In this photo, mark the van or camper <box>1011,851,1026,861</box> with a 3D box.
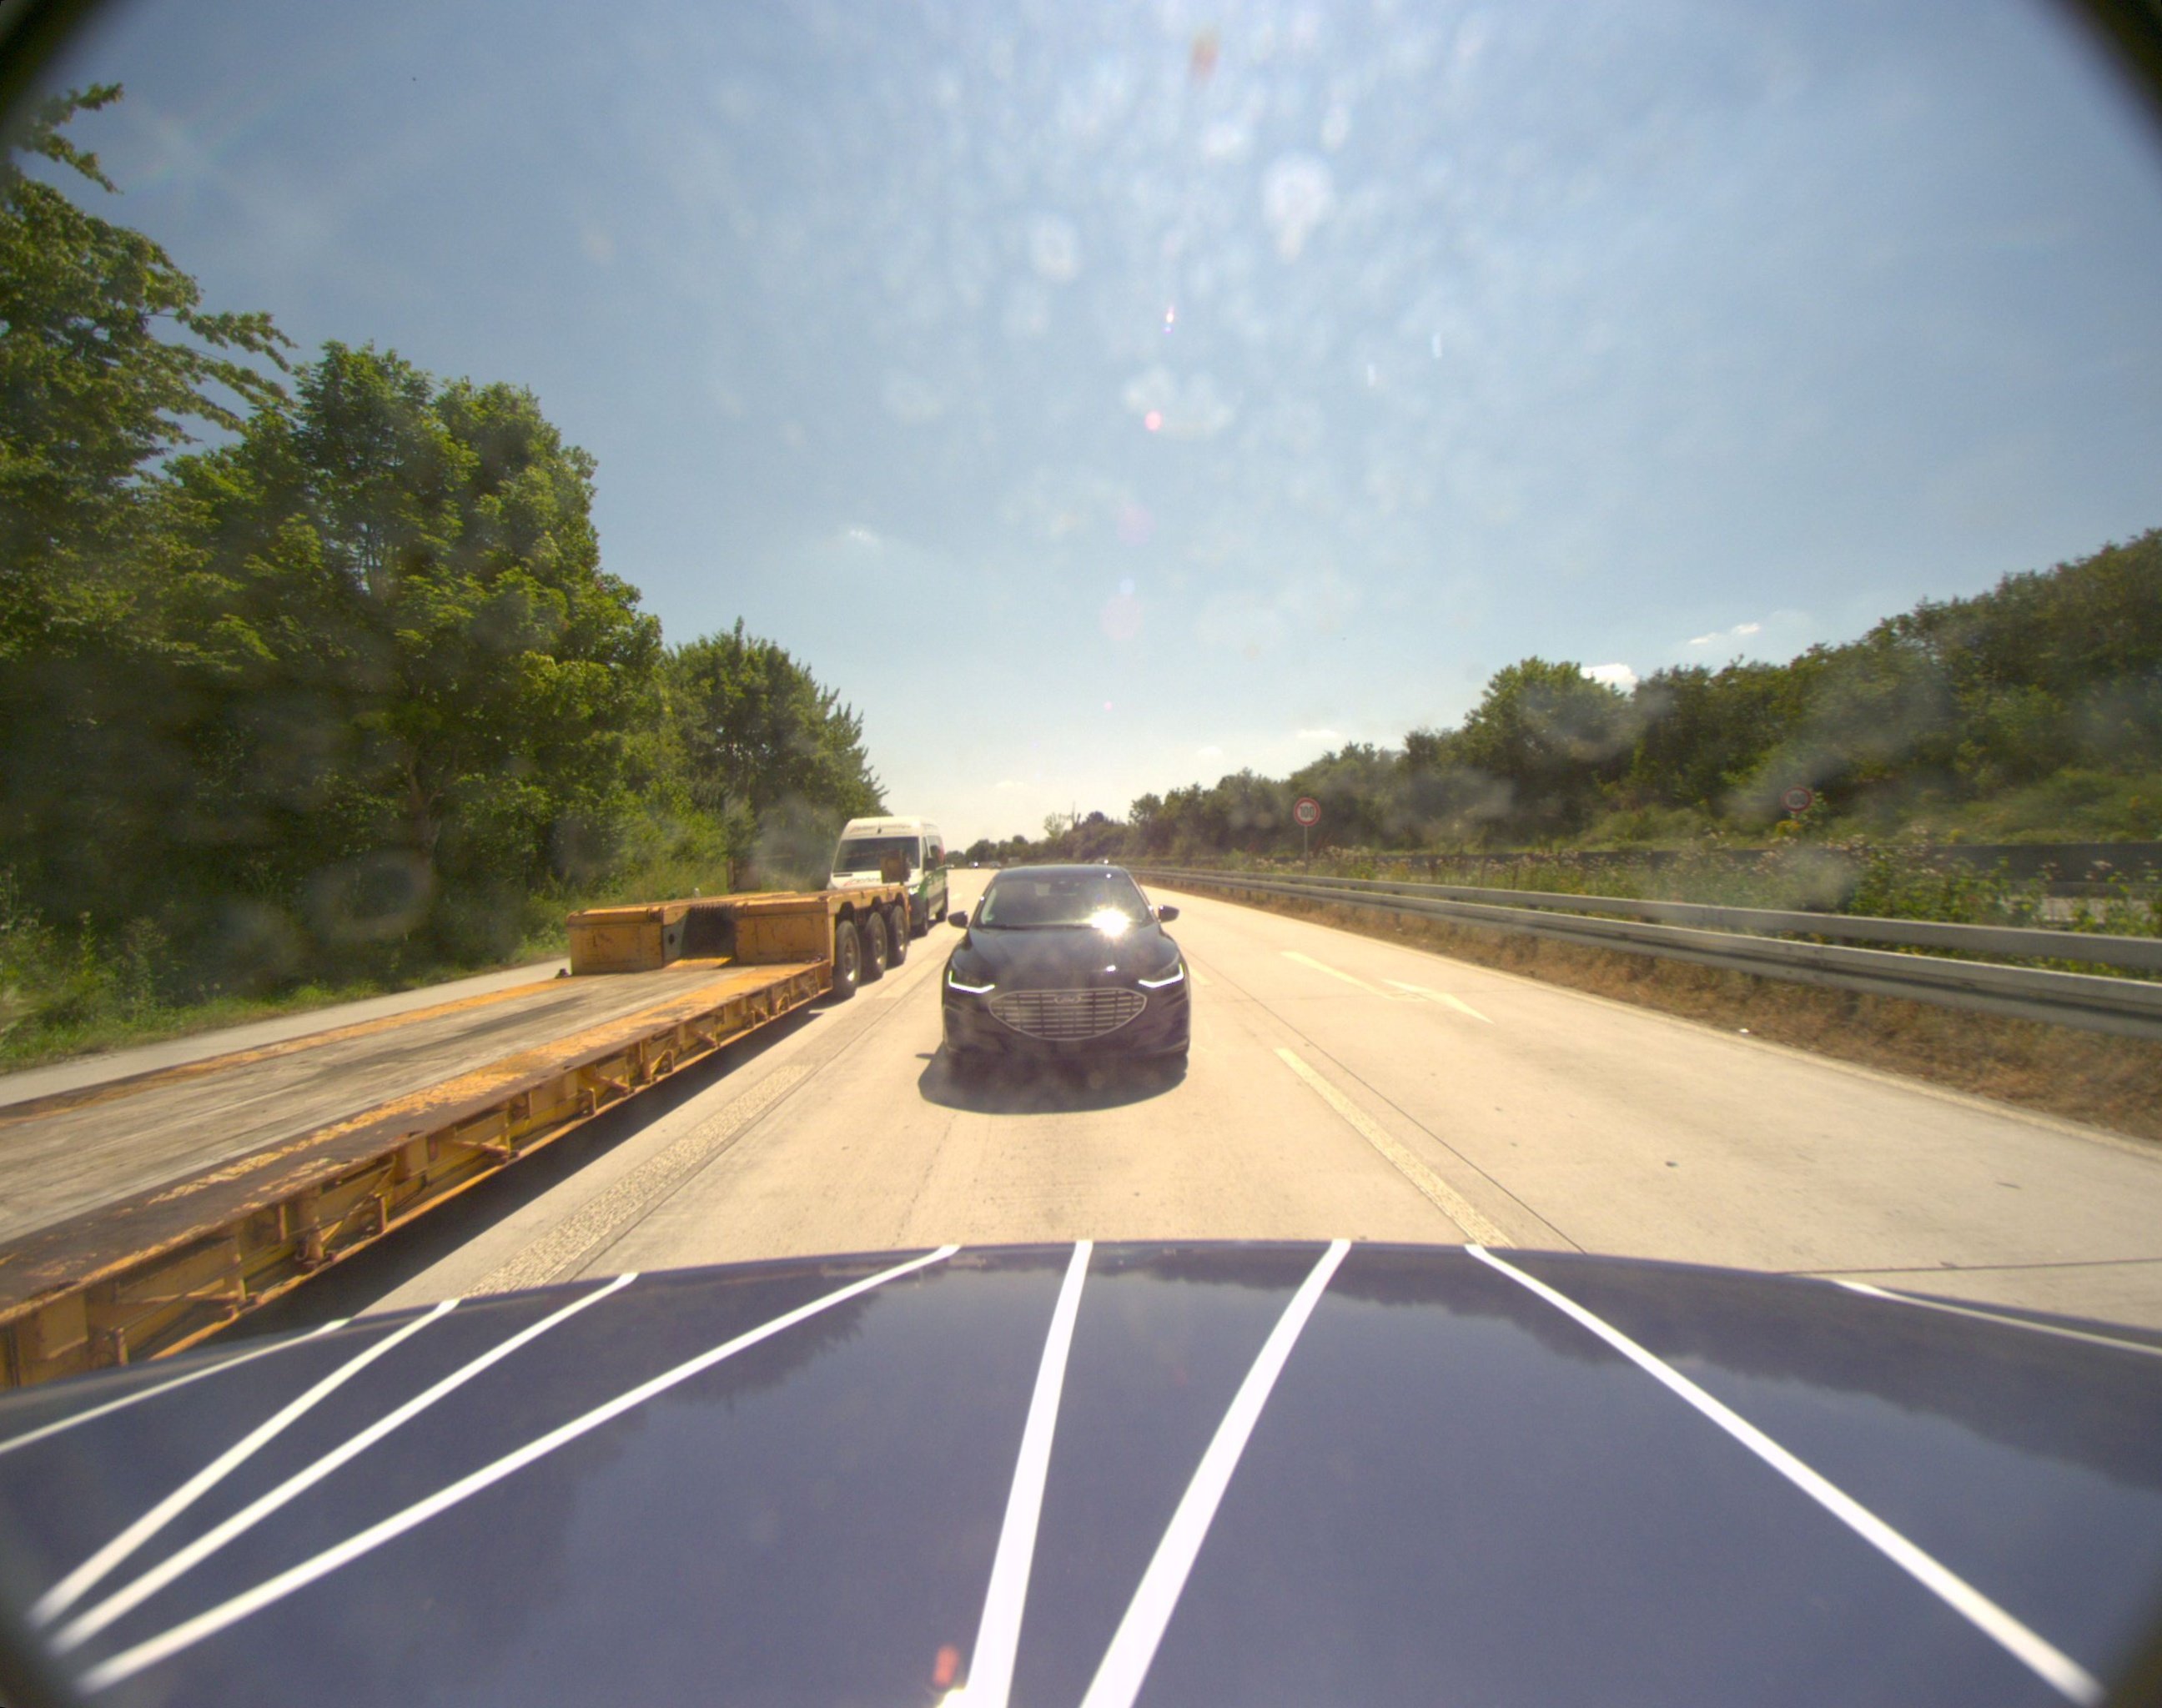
[{"bbox_3d":[-13.427,0.390,163.228,2.180,2.002,5.632,-2,1,-13],"label":"van or camper"}]

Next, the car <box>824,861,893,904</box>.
[{"bbox_3d":[-9.231,1.137,31.826,1.772,1.552,4.366,-2,1,-3],"label":"car"}]

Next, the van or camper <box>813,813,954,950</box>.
[{"bbox_3d":[-4.290,0.503,17.561,2.069,2.559,5.904,-2,1,-5],"label":"van or camper"}]

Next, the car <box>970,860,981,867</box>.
[{"bbox_3d":[-23.353,2.073,168.344,1.708,1.456,3.993,-3,1,-19],"label":"car"}]

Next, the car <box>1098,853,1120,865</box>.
[{"bbox_3d":[3.598,0.580,99.236,1.878,1.438,4.599,-2,1,-9],"label":"car"}]

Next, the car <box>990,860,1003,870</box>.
[{"bbox_3d":[-14.816,1.908,133.381,1.629,1.476,3.995,-2,1,-14],"label":"car"}]

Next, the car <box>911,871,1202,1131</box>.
[{"bbox_3d":[-0.121,0.954,6.820,1.731,1.430,4.304,-2,0,1],"label":"car"}]

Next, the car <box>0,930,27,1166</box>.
[{"bbox_3d":[-7.565,1.261,2.499,1.772,1.453,4.597,-2,1,-1],"label":"car"}]

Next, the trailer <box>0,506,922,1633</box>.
[{"bbox_3d":[-4.022,0.527,3.810,3.035,2.578,16.355,-2,0,0],"label":"trailer"}]

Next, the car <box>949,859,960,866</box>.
[{"bbox_3d":[-31.001,2.058,185.933,1.893,1.456,3.993,-3,1,-18],"label":"car"}]
